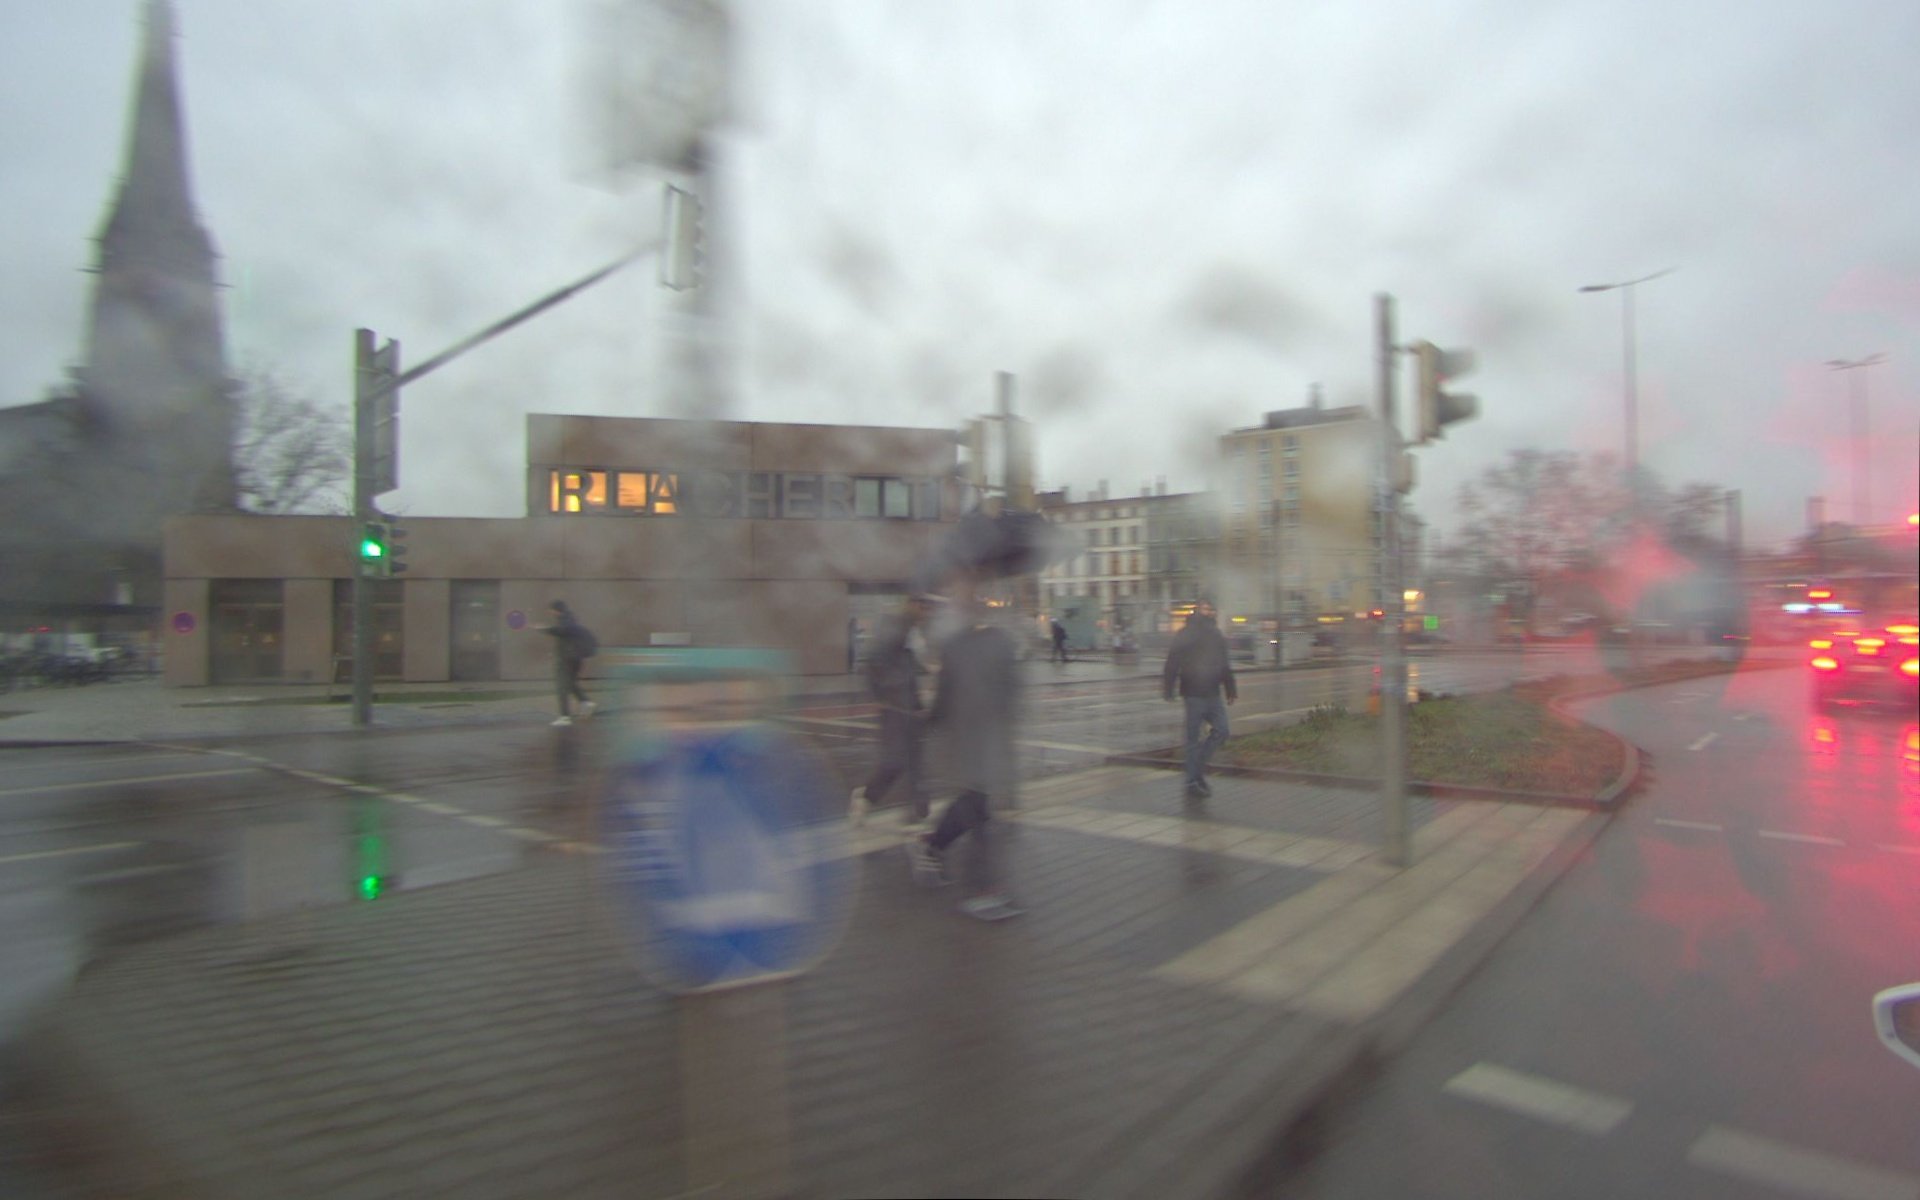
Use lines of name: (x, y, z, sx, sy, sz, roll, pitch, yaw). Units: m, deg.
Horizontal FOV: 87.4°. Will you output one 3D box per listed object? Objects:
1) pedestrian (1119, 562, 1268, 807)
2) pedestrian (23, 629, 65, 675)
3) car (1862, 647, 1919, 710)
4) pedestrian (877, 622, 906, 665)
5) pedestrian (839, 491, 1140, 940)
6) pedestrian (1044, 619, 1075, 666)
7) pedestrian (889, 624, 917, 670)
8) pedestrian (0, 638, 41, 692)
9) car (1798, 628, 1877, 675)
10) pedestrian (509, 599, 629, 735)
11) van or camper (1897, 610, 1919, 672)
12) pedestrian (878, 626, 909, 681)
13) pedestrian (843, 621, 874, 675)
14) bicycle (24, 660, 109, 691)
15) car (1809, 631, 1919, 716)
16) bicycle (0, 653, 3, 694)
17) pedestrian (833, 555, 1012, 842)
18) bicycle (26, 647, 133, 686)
pedestrian: (2.033, 0.714, 8.885, 1.087, 2.032, 0.848, -2, 0, 2)
pedestrian: (-39.241, 2.219, 43.027, 0.832, 1.875, 1.035, -2, 0, 22)
car: (24.471, 1.979, 25.919, 1.641, 1.423, 4.095, 1, -1, 44)
pedestrian: (-2.605, 1.663, 38.274, 0.948, 1.624, 0.854, 0, -2, -13)
pedestrian: (0.164, 0.538, 5.423, 1.196, 2.077, 1.030, -2, 0, 39)
pedestrian: (4.185, 1.797, 42.256, 1.102, 1.944, 1.062, -1, -2, -6)
pedestrian: (-2.259, 1.863, 39.843, 0.787, 1.774, 0.761, -2, -2, 30)
pedestrian: (-31.800, 2.183, 33.887, 0.832, 1.704, 0.815, 1, 3, 22)
car: (34.816, 1.994, 39.823, 3.969, 1.795, 1.868, 1, -2, -41)
pedestrian: (-5.722, 0.943, 14.763, 1.015, 1.883, 1.234, -2, 0, 21)
van or camper: (35.248, 1.443, 35.769, 4.946, 2.137, 2.184, 1, -1, -40)
pedestrian: (-2.191, 1.762, 33.273, 0.650, 1.791, 0.831, -2, -2, 31)
pedestrian: (-3.342, 1.561, 33.086, 0.736, 1.749, 0.736, 0, -2, -34)
bicycle: (-27.206, 2.302, 30.603, 1.832, 0.883, 0.605, 0, -3, -13)
car: (18.883, 1.446, 20.892, 1.682, 1.501, 3.850, 2, 1, 43)
bicycle: (-27.777, 2.043, 27.207, 2.705, 1.119, 0.606, 0, 0, -16)
pedestrian: (-0.229, 0.657, 7.178, 1.014, 1.883, 1.071, -2, 0, 10)
bicycle: (-29.095, 2.189, 33.229, 2.701, 1.119, 0.646, -2, 0, -9)
